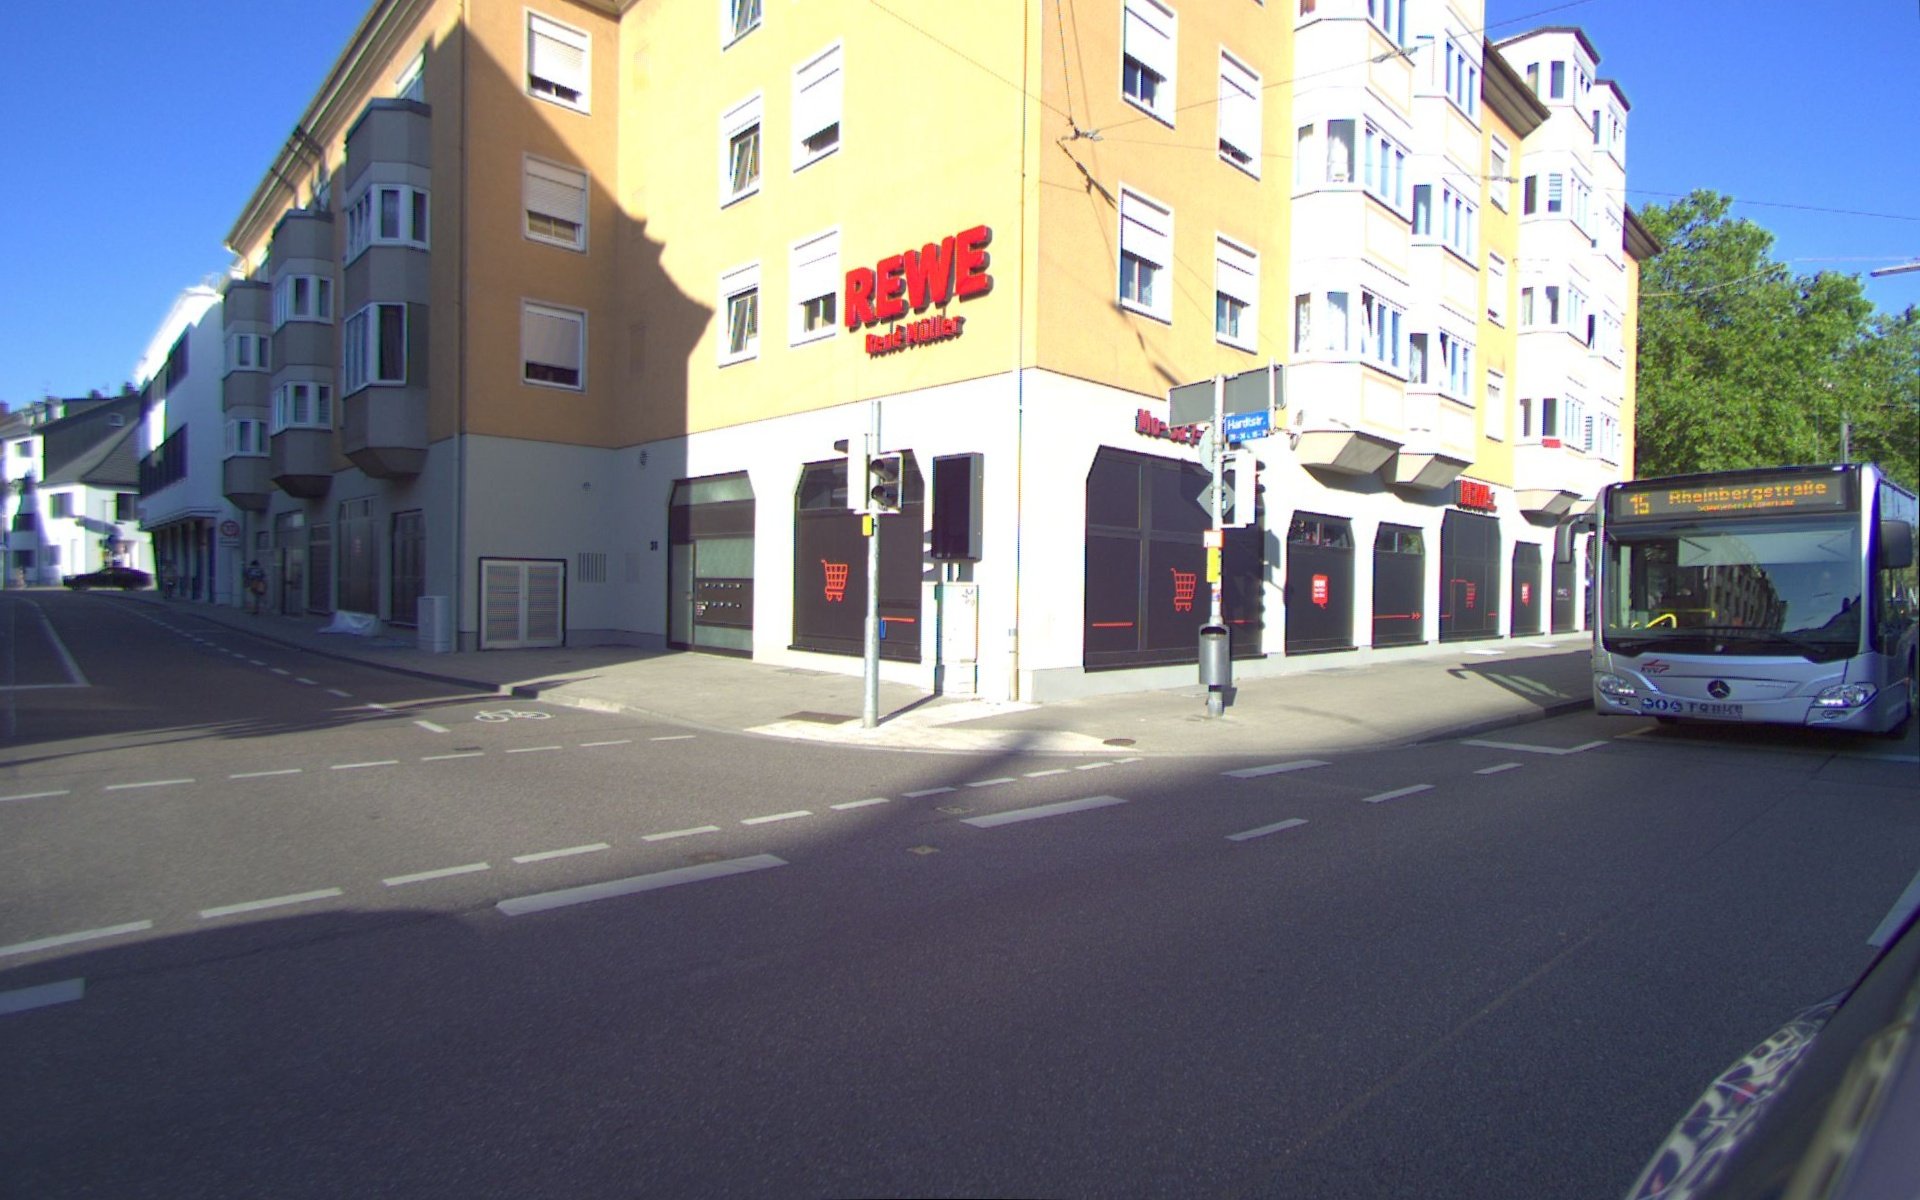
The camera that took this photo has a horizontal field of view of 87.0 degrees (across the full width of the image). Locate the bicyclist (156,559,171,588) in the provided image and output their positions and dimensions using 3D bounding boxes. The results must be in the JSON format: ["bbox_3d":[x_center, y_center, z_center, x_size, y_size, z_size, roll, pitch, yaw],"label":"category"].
[{"bbox_3d":[-35.882,-1.203,45.562,0.478,1.310,0.499,-1,1,-44],"label":"bicyclist"}]

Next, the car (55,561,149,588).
[{"bbox_3d":[-57.155,-1.688,67.477,1.990,1.676,4.499,0,1,40],"label":"car"}]

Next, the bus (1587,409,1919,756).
[{"bbox_3d":[14.367,-0.261,16.188,17.440,3.189,2.769,-1,1,-43],"label":"bus"}]

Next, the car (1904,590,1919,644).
[{"bbox_3d":[31.269,0.529,32.138,3.762,1.627,1.746,-1,1,-45],"label":"car"}]

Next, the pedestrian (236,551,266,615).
[{"bbox_3d":[-22.428,-0.536,32.028,0.708,1.978,0.685,0,1,-41],"label":"pedestrian"}]

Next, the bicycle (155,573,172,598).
[{"bbox_3d":[-35.871,-0.657,45.550,0.478,1.090,1.310,-1,1,-44],"label":"bicycle"}]
